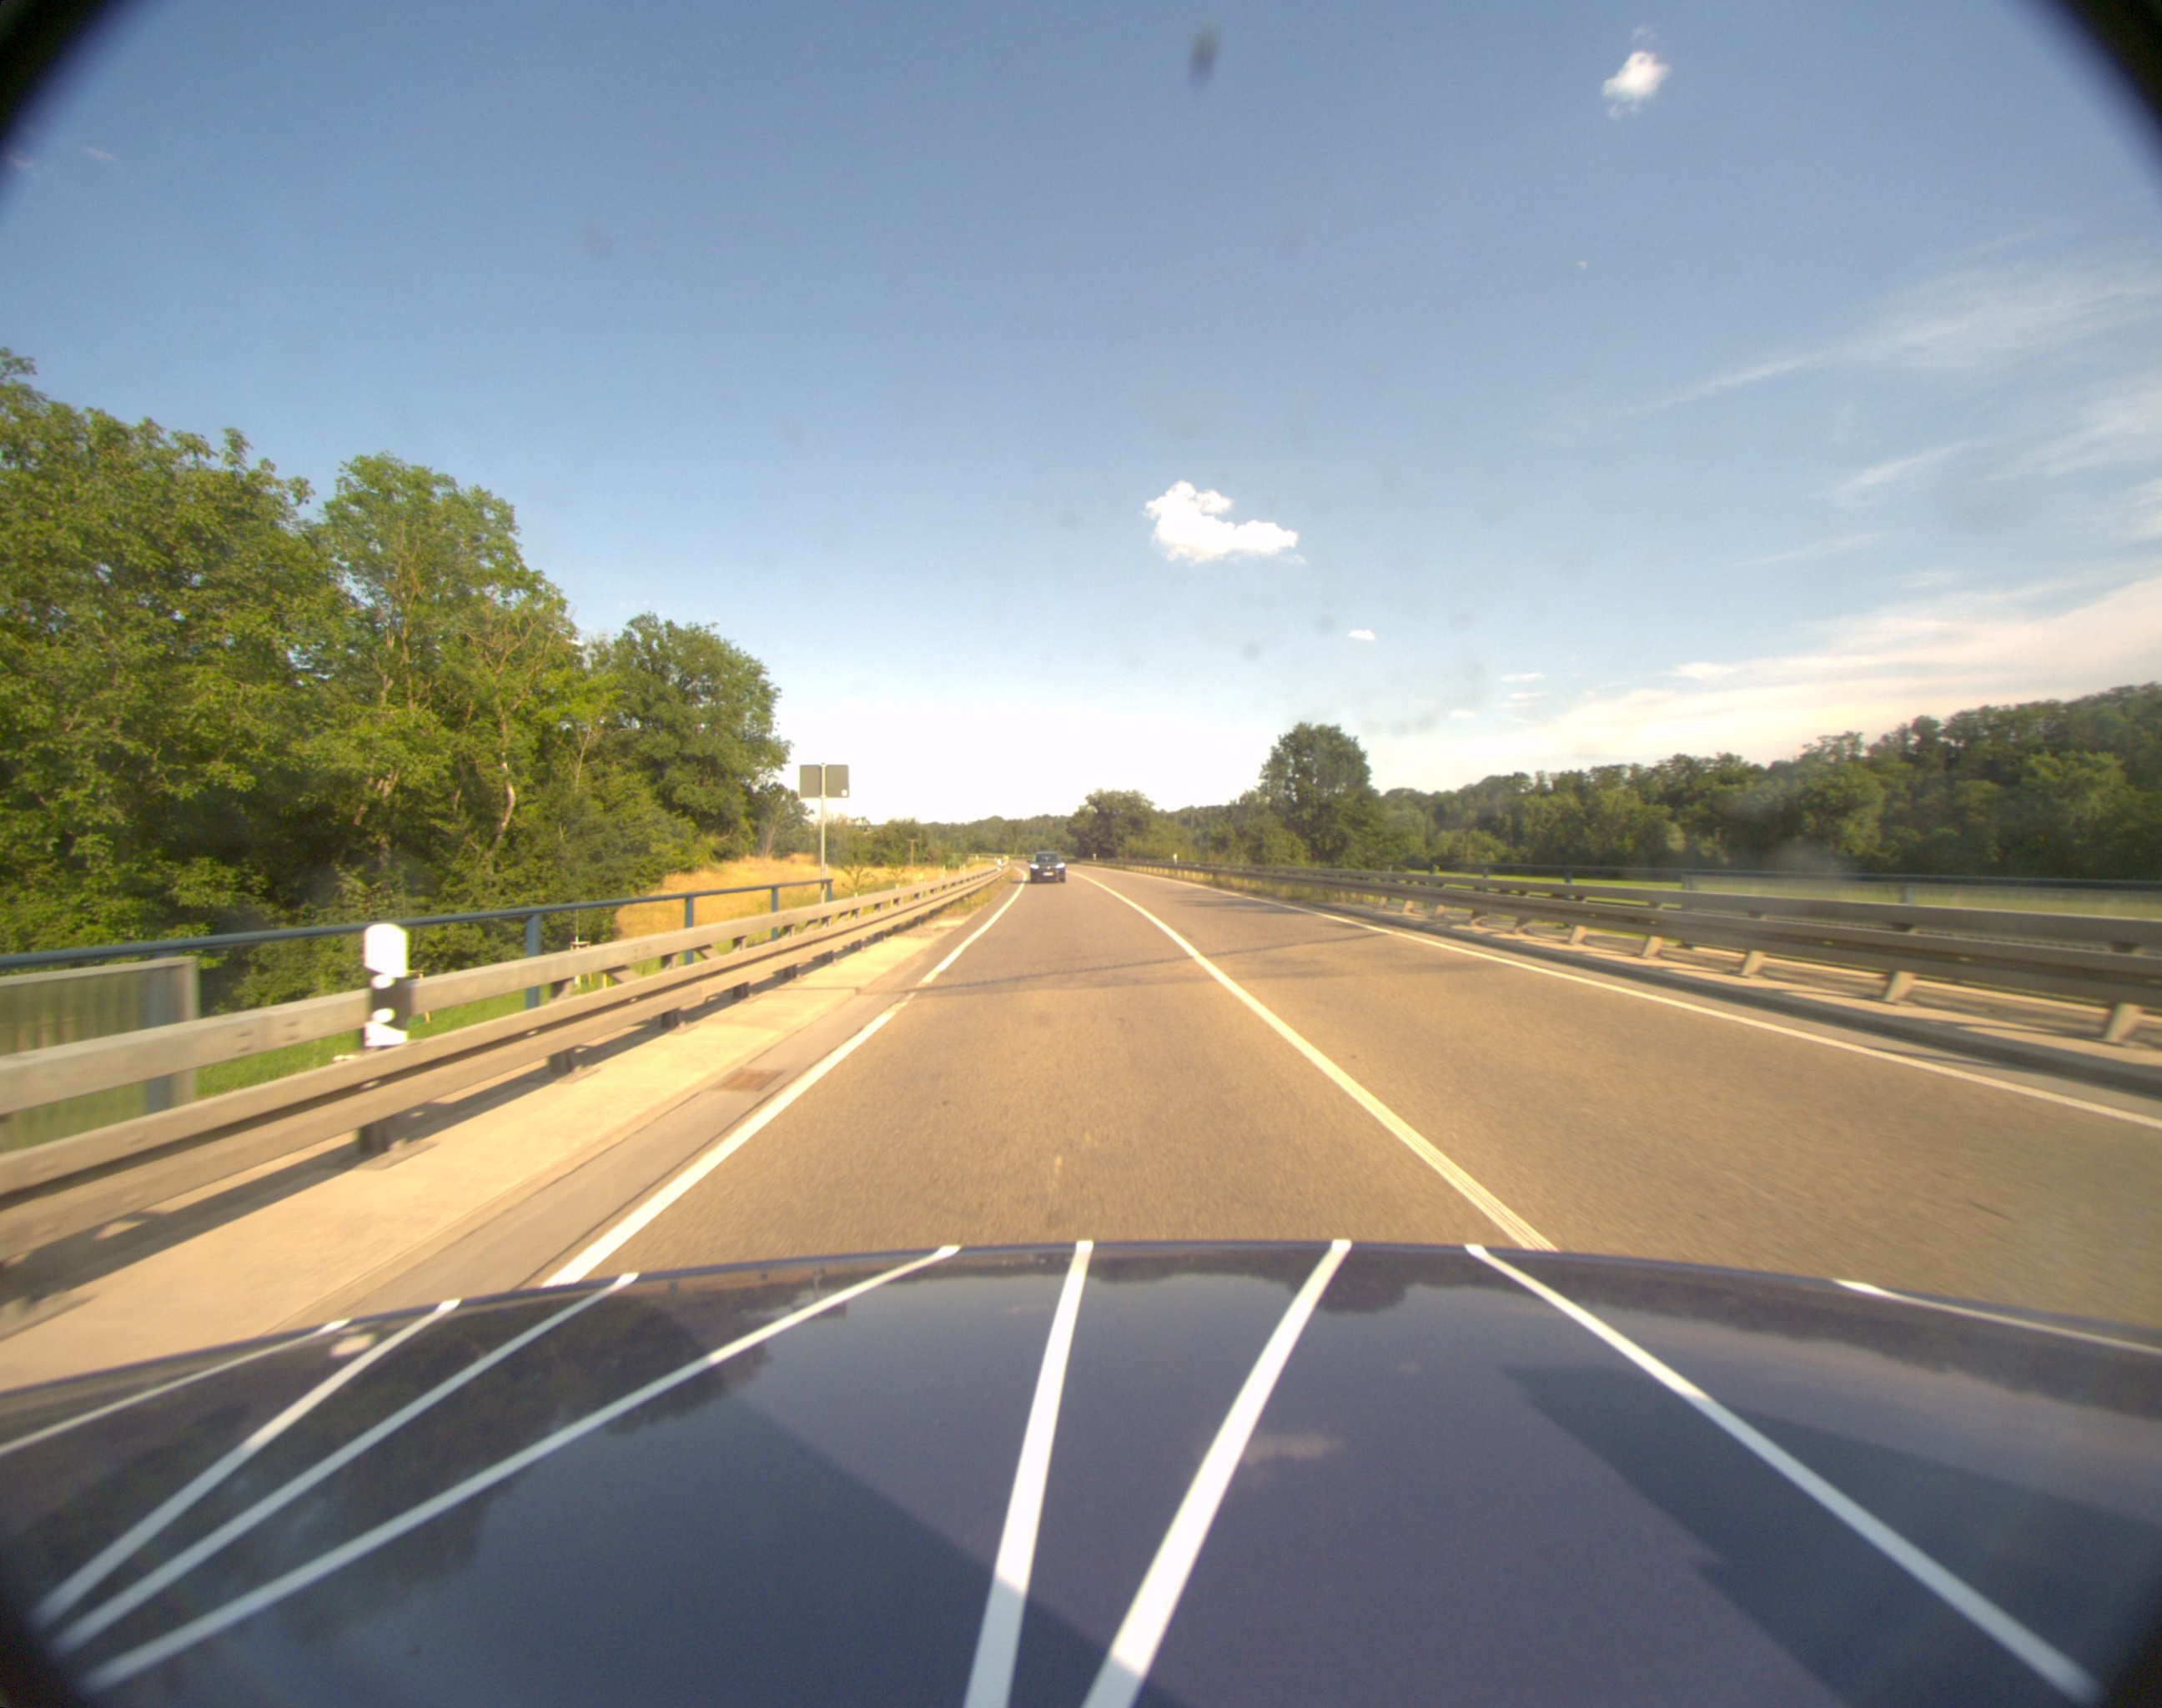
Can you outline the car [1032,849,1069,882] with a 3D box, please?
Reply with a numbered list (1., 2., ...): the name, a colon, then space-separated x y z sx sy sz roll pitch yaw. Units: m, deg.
1. car: -1.698 0.568 40.833 1.751 1.645 4.304 -2 1 -5
